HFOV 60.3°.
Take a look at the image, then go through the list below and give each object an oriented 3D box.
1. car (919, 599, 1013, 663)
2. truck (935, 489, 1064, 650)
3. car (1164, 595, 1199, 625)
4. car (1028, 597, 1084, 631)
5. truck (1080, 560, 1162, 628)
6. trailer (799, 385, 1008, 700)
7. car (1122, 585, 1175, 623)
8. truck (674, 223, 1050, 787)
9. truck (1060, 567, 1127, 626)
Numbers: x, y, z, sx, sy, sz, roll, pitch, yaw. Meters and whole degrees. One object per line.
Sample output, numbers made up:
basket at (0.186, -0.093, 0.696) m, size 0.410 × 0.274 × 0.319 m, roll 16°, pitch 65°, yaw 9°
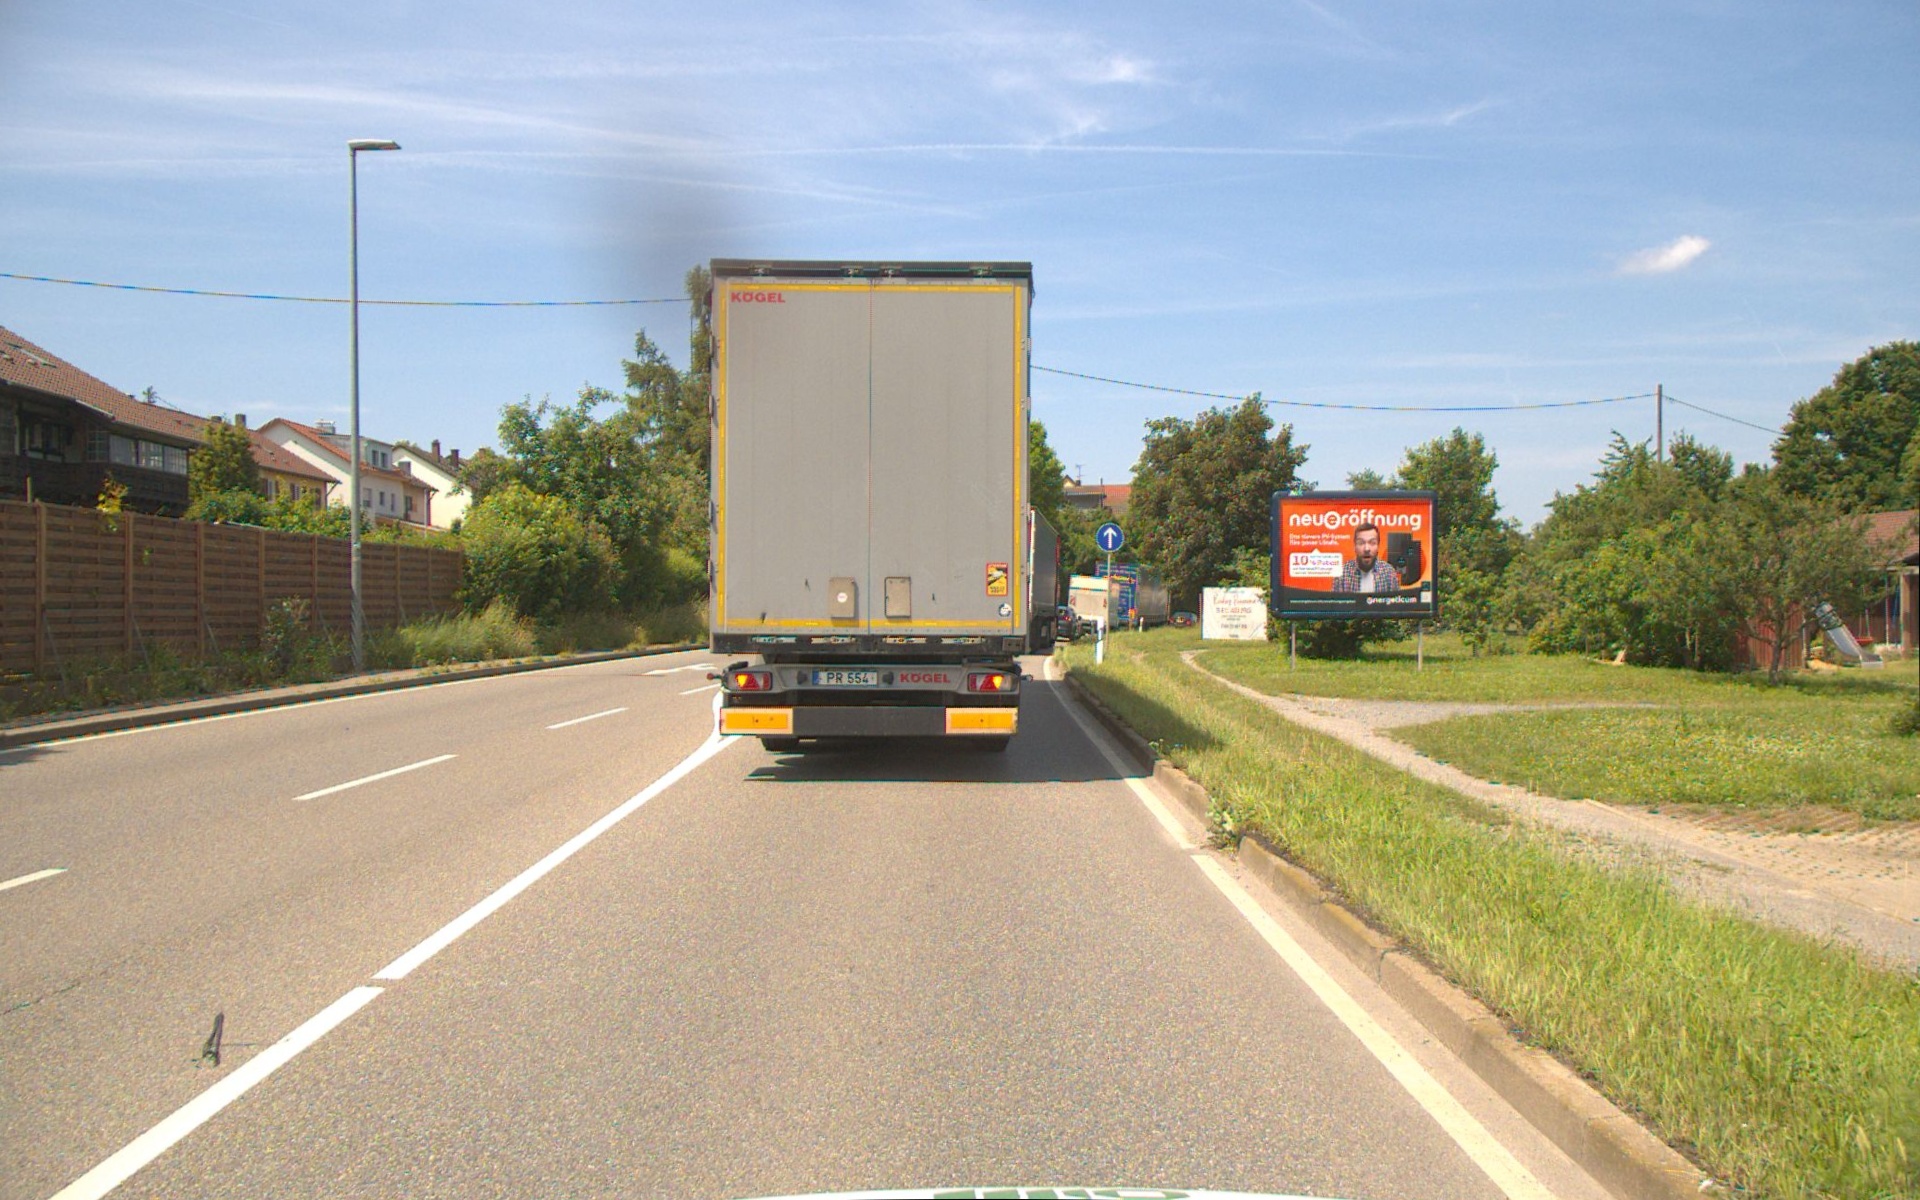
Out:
car at (0.196, 0.704, 38.542) m, size 1.780 × 1.370 × 3.850 m, roll 1°, pitch -1°, yaw 6°
truck at (1.592, -0.745, 53.499) m, size 2.702 × 4.364 × 16.426 m, roll 1°, pitch -1°, yaw 6°
car at (15.875, 0.738, 118.405) m, size 1.951 × 2.049 × 4.003 m, roll 1°, pitch -1°, yaw 14°
car at (4.281, 0.620, 73.140) m, size 1.951 × 1.400 × 4.003 m, roll 1°, pitch -1°, yaw 11°
truck at (9.435, -0.384, 96.026) m, size 3.360 × 3.667 × 9.361 m, roll 1°, pitch 1°, yaw 14°
trailer at (-0.762, -0.796, 25.374) m, size 2.767 × 4.182 × 6.544 m, roll 0°, pitch 0°, yaw 0°
car at (12.100, 0.254, 105.875) m, size 2.478 × 2.317 × 6.386 m, roll 1°, pitch 0°, yaw 14°
truck at (-0.750, -0.760, 18.180) m, size 2.764 × 4.200 × 11.443 m, roll 1°, pitch 0°, yaw 0°
truck at (6.884, -0.140, 84.559) m, size 2.489 × 2.852 × 6.036 m, roll 1°, pitch -1°, yaw 13°
